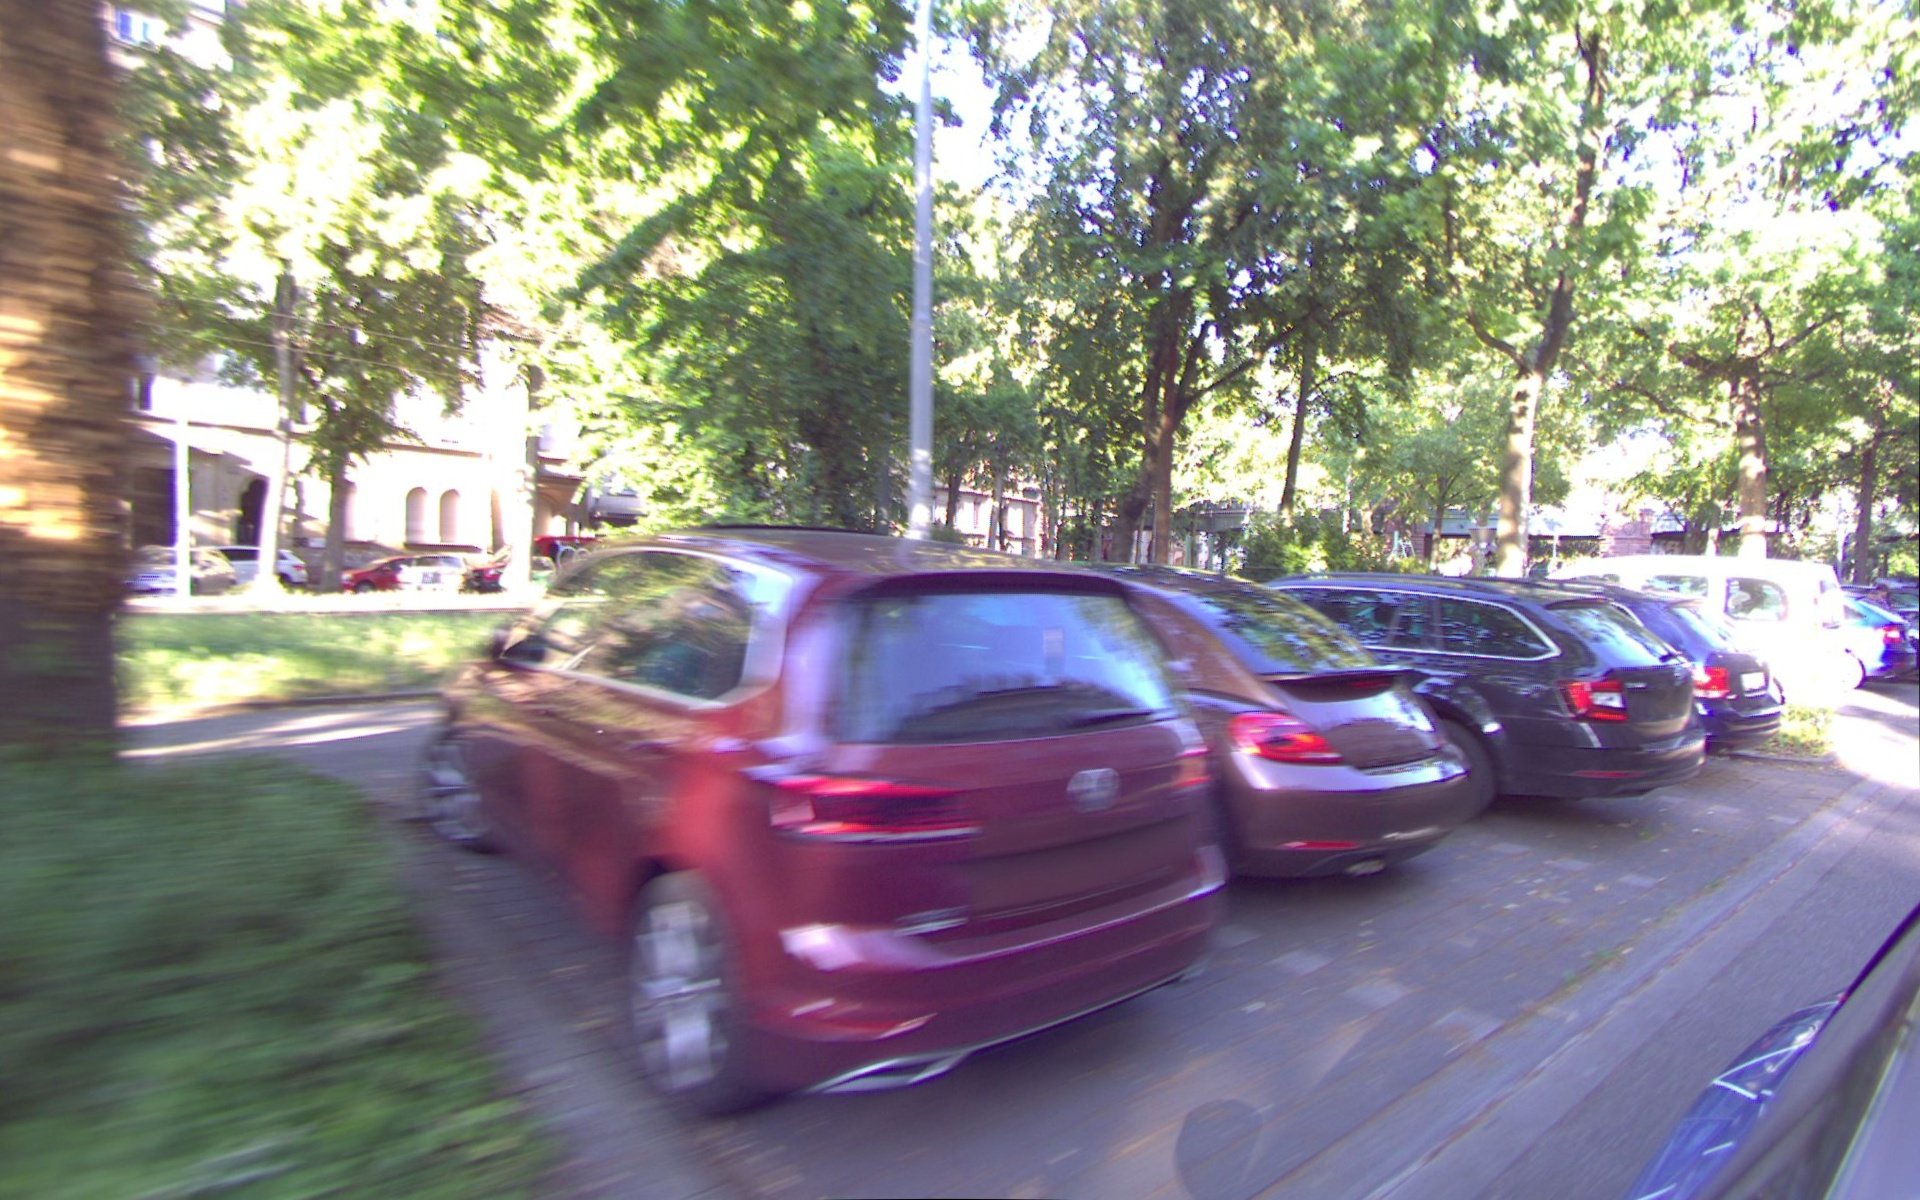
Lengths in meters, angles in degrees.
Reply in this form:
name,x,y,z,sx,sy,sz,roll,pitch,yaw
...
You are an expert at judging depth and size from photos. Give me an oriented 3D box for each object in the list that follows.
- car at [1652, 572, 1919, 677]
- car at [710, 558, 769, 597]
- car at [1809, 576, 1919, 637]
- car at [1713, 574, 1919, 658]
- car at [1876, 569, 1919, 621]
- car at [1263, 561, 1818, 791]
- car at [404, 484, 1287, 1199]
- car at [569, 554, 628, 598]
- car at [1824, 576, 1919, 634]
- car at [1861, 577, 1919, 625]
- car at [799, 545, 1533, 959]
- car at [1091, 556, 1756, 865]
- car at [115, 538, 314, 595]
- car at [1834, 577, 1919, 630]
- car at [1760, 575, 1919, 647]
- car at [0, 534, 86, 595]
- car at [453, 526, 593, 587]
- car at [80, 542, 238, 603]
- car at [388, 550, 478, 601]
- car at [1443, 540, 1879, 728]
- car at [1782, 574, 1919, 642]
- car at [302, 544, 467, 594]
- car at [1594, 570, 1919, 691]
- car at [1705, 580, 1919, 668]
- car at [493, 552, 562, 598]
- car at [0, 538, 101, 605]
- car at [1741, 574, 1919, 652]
name,x,y,z,sx,sy,sz,roll,pitch,yaw
car,14.433,0.344,17.275,1.654,1.507,3.997,0,3,-39
car,-8.429,-0.891,38.500,1.711,1.294,4.010,1,3,-19
car,25.347,0.196,26.684,1.654,1.507,4.263,0,3,-39
car,18.326,0.287,21.007,1.654,1.507,3.997,0,3,-39
car,36.237,-0.089,36.064,1.800,1.864,5.095,0,3,-39
car,4.973,0.471,9.159,1.654,1.507,3.997,0,3,-39
car,-0.920,0.438,4.121,1.654,1.572,3.997,0,3,-39
car,-11.989,-0.826,33.643,1.711,1.294,4.010,1,3,-19
car,27.042,0.172,28.187,1.654,1.507,4.263,0,3,-39
car,32.354,0.094,33.041,1.654,1.507,4.131,0,3,-39
car,0.816,0.485,5.865,1.654,1.507,3.997,0,3,-39
car,2.989,0.499,7.275,1.654,1.507,3.997,0,3,-39
car,-22.677,-1.020,30.934,1.990,1.586,4.550,4,3,38
car,28.876,0.141,30.078,1.654,1.507,4.131,0,3,-39
car,21.601,0.242,23.867,1.654,1.507,3.997,0,3,-39
car,-26.029,-0.960,26.601,1.989,1.586,4.359,4,3,37
car,-16.660,-1.643,38.793,1.990,2.199,4.550,3,3,38
car,-18.897,-0.698,24.084,1.711,1.294,4.010,1,3,-19
car,-15.030,-0.752,29.021,1.711,1.294,4.010,1,3,-19
car,8.283,0.250,12.283,1.654,1.854,3.997,0,3,-39
car,23.490,0.197,25.404,1.654,1.540,4.131,0,3,-39
car,-19.754,-1.073,34.879,1.990,1.586,4.550,4,3,38
car,12.401,0.369,15.707,1.654,1.507,3.997,0,3,-39
car,16.133,0.401,18.269,1.654,1.355,3.997,0,3,-39
car,-13.592,-0.813,31.965,1.711,1.294,4.010,1,3,-19
car,-20.667,-0.668,21.992,1.711,1.294,4.010,1,3,-19
car,19.849,0.268,22.193,1.654,1.507,3.997,0,3,-39
